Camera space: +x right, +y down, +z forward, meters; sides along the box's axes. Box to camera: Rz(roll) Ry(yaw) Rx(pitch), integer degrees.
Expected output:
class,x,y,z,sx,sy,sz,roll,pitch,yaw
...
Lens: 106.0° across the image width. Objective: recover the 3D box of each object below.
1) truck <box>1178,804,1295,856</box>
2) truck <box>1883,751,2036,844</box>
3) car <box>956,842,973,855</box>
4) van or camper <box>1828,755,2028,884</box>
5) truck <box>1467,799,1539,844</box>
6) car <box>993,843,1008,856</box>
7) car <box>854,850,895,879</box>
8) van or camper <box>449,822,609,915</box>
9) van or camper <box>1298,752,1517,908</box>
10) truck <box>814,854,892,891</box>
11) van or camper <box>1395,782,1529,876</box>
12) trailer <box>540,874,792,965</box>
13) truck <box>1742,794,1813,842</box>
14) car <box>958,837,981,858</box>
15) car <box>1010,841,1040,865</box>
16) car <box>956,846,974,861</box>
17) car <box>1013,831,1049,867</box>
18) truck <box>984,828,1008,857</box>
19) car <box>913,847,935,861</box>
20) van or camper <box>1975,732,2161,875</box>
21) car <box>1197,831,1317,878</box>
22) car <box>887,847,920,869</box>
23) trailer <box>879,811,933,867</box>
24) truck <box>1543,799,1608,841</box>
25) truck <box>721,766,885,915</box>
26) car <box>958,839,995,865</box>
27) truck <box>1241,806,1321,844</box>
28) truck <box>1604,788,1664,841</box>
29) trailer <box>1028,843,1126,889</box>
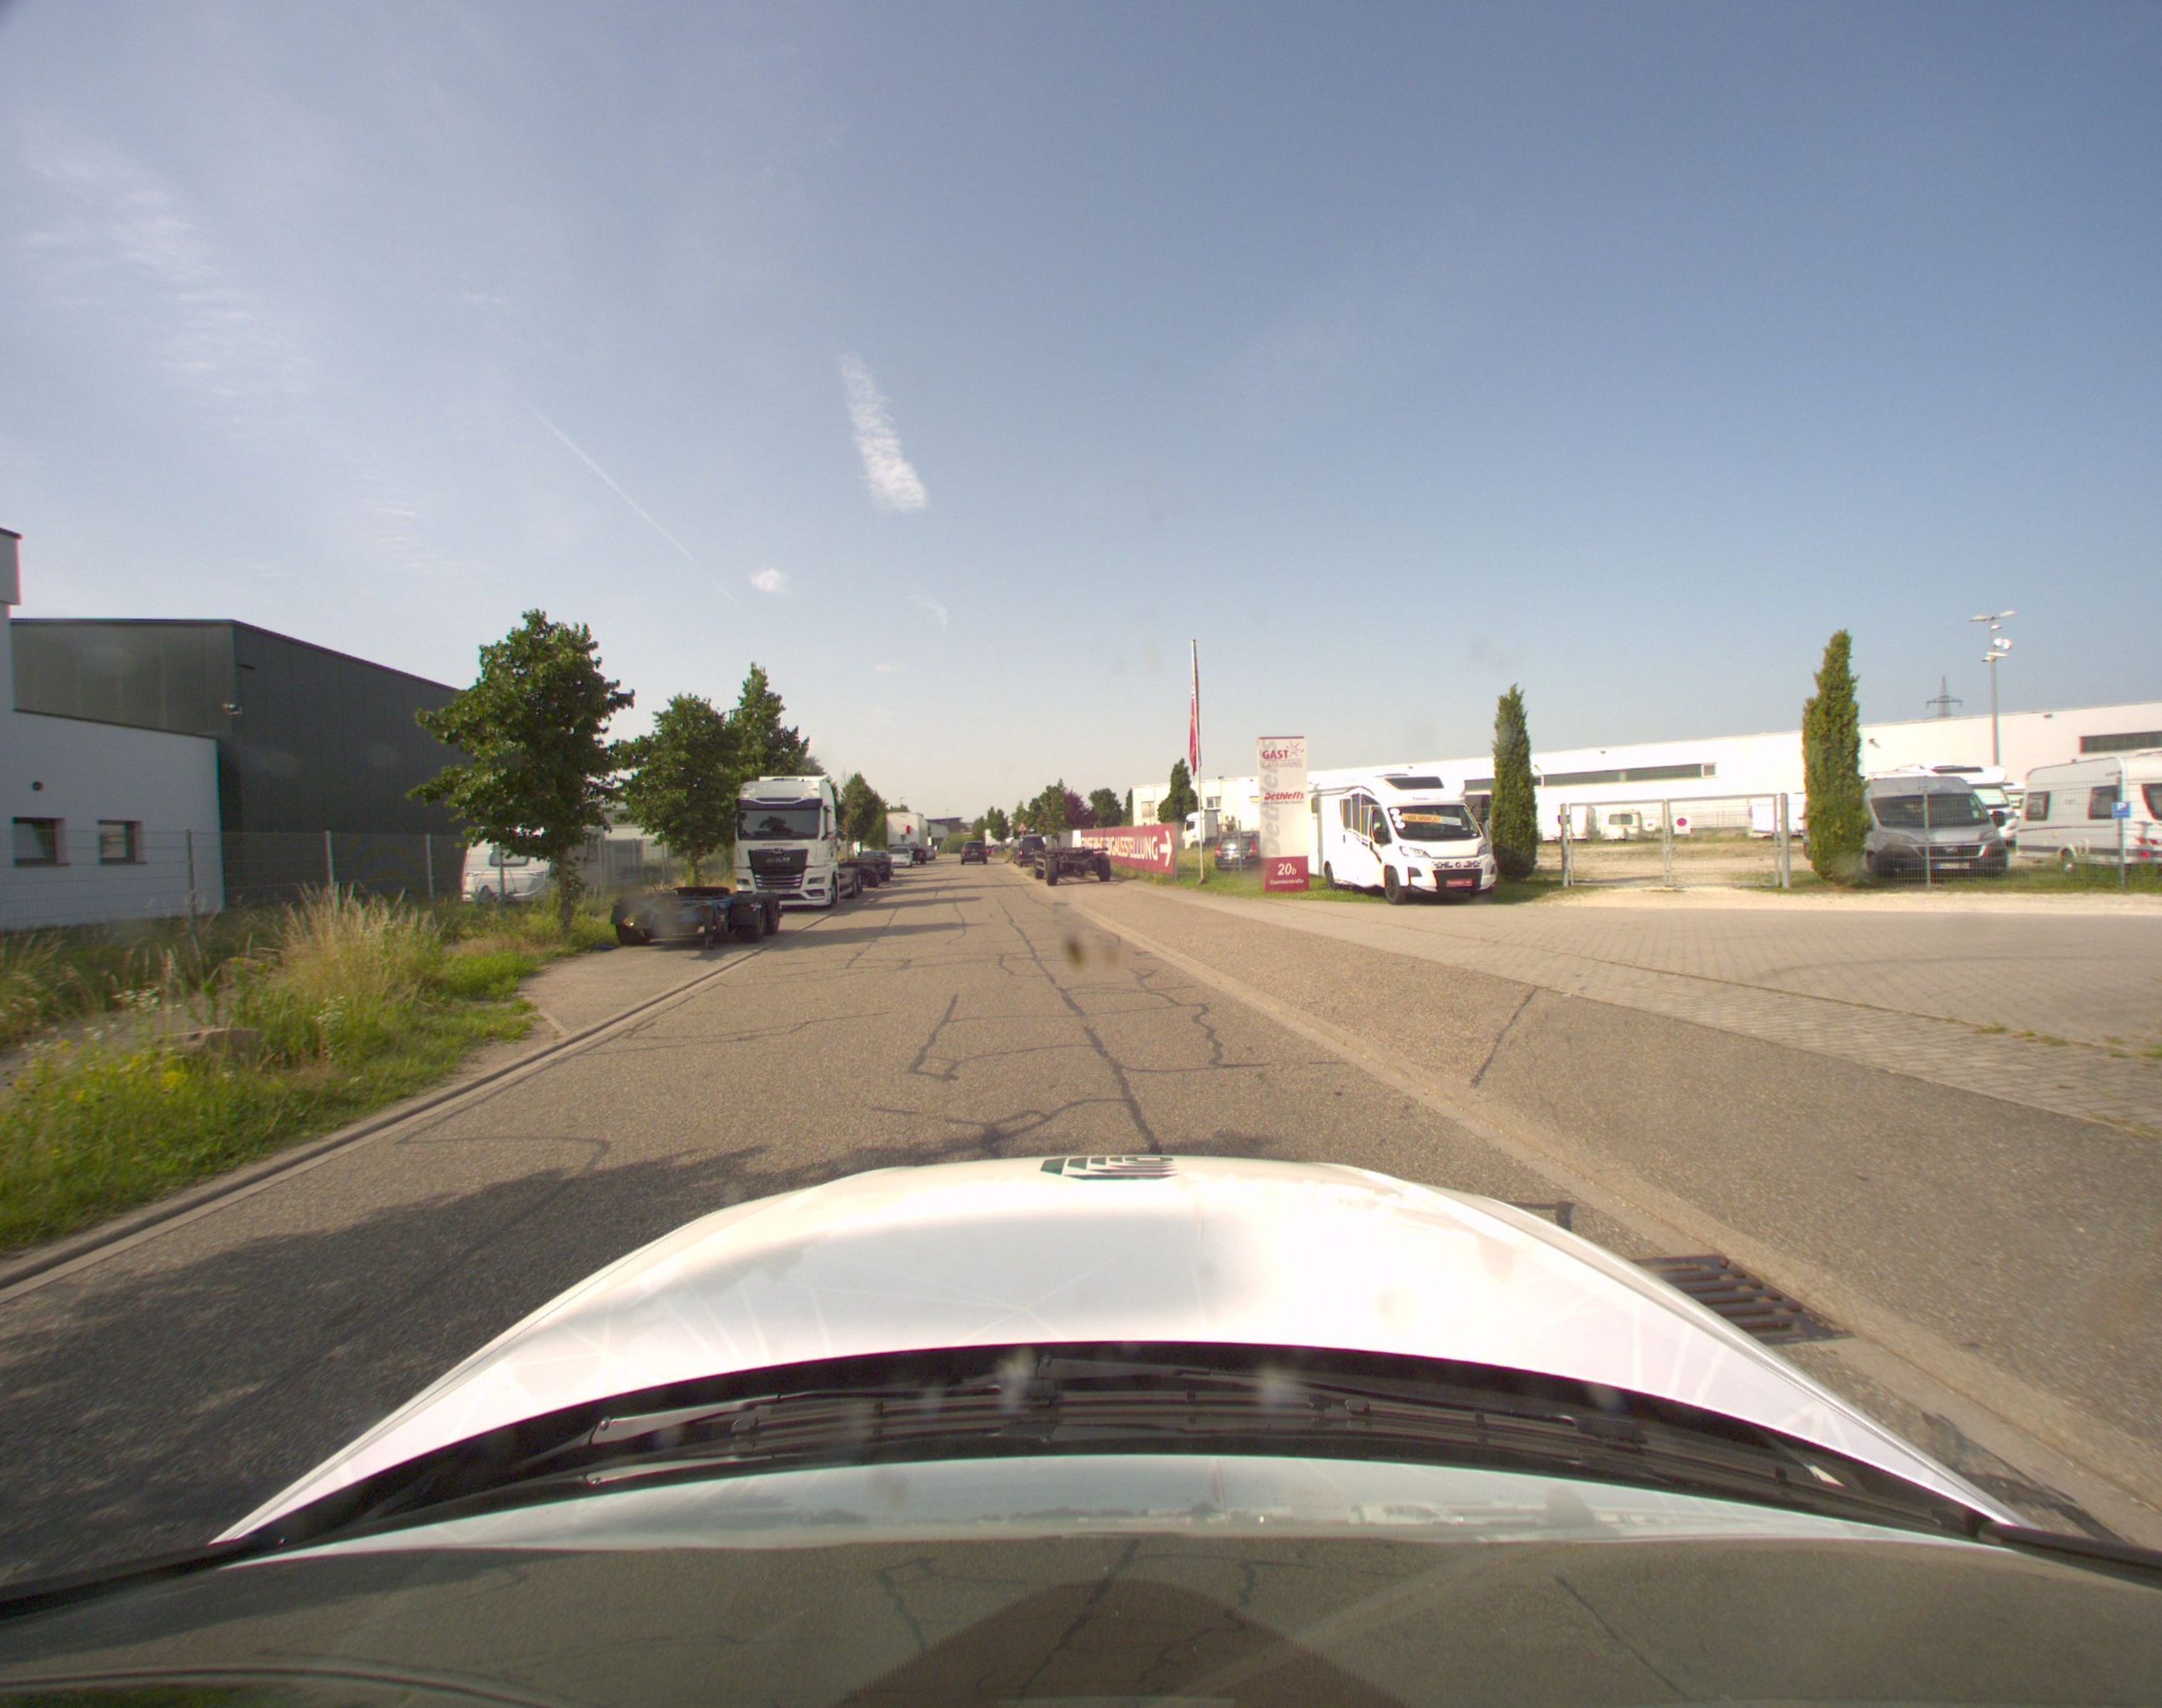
class,x,y,z,sx,sy,sz,roll,pitch,yaw
truck,12.772,-1.914,67.396,9.193,3.972,2.475,-1,1,35
truck,31.238,-1.926,29.299,2.427,2.845,8.054,-1,2,38
car,-16.557,-0.836,116.140,1.989,1.771,3.995,-2,1,-3
van or camper,19.560,-0.783,19.176,1.974,2.534,6.191,-2,1,34
truck,25.809,-2.013,49.586,2.427,2.471,8.054,-1,2,38
car,-10.035,-0.590,101.454,1.816,1.449,3.793,-3,2,-6
car,-11.179,0.546,44.256,1.886,1.436,3.984,-2,1,-12
van or camper,-17.162,0.381,25.719,2.306,2.560,4.935,-2,1,-11
van or camper,7.299,-0.544,19.351,2.323,2.943,6.970,-2,1,0
truck,-10.082,0.761,36.579,2.523,1.265,6.508,-2,1,-9
van or camper,12.157,-0.819,25.633,2.459,2.558,6.669,-1,2,37
trailer,-7.281,1.059,15.125,2.573,1.100,5.186,-2,1,-8
truck,36.432,-1.893,42.780,2.427,2.265,7.261,-1,2,38
car,-10.868,-0.688,79.322,1.991,1.899,4.459,-1,2,-6
car,-3.886,-0.093,55.973,1.817,1.449,3.793,-6,2,-6
car,-13.810,-0.095,97.118,1.993,1.640,3.989,-2,1,-8
car,-3.138,-0.326,50.377,1.817,1.978,3.992,-6,2,-6
truck,-11.734,-1.578,111.984,2.884,3.585,8.044,-3,1,-6
car,-18.638,-0.028,96.795,1.990,1.523,3.994,-2,1,-5
van or camper,22.648,-1.073,18.019,2.298,2.705,6.652,-2,1,34
car,6.402,0.011,29.556,4.020,1.476,2.148,-3,1,-38
car,-12.514,0.245,57.503,1.809,1.427,3.991,-2,1,-7
trailer,-15.134,-1.270,71.477,3.401,4.339,13.883,-2,1,-8
truck,30.216,-2.073,49.607,2.427,2.265,8.054,-1,2,38
truck,-9.027,-0.448,28.344,2.623,3.928,12.888,-2,1,-7
car,-7.615,-0.178,59.717,1.985,1.804,4.003,0,1,3
truck,14.424,-2.124,58.112,2.427,2.471,8.054,-1,2,38
truck,32.534,-2.287,47.775,2.427,2.826,8.054,-1,2,38
trailer,-0.428,0.356,32.899,2.622,1.388,9.428,-4,1,-8
